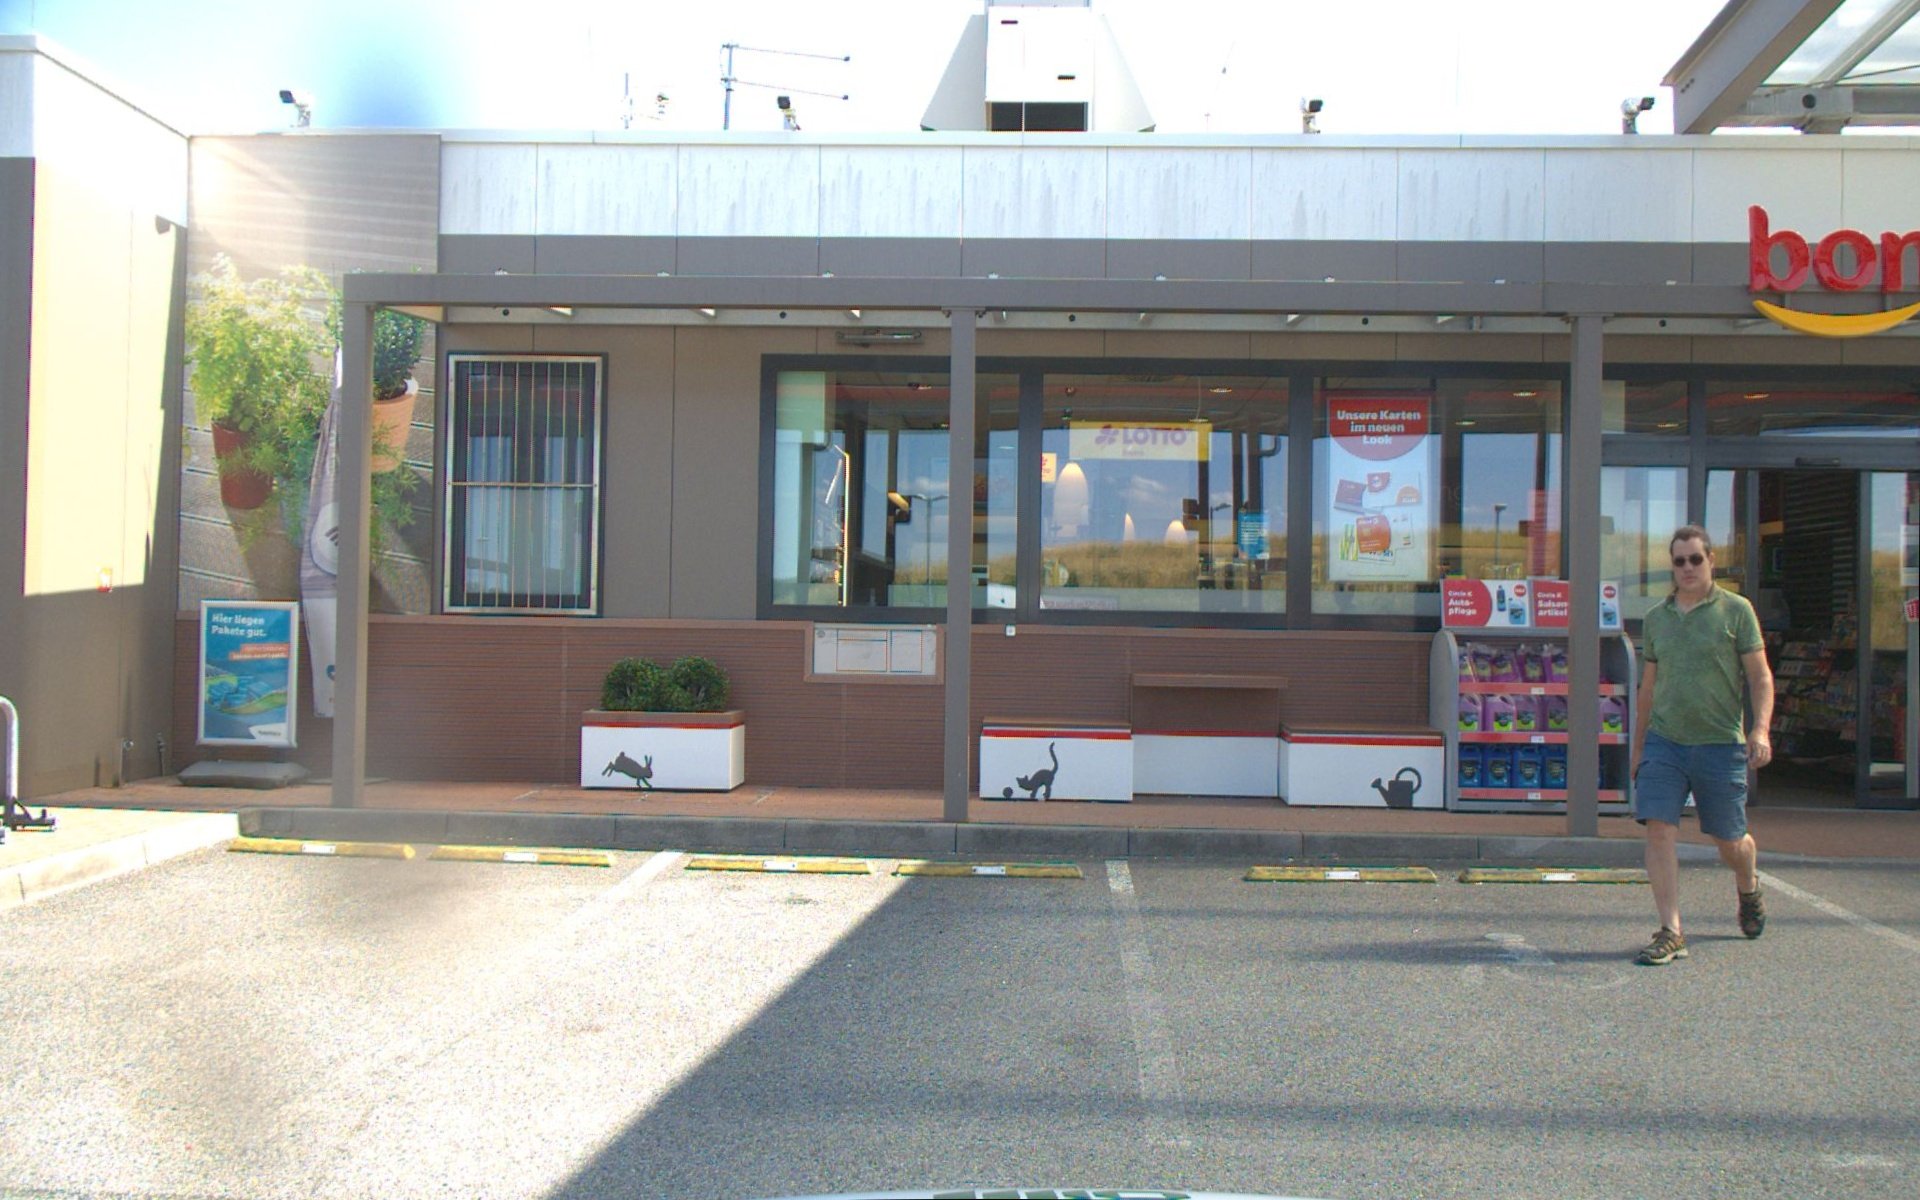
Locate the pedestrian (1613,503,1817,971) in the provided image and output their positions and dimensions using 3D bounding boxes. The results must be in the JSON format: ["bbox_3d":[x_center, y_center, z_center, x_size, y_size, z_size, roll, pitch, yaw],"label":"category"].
[{"bbox_3d":[3.213,0.535,7.015,0.688,1.829,0.860,0,0,31],"label":"pedestrian"}]
